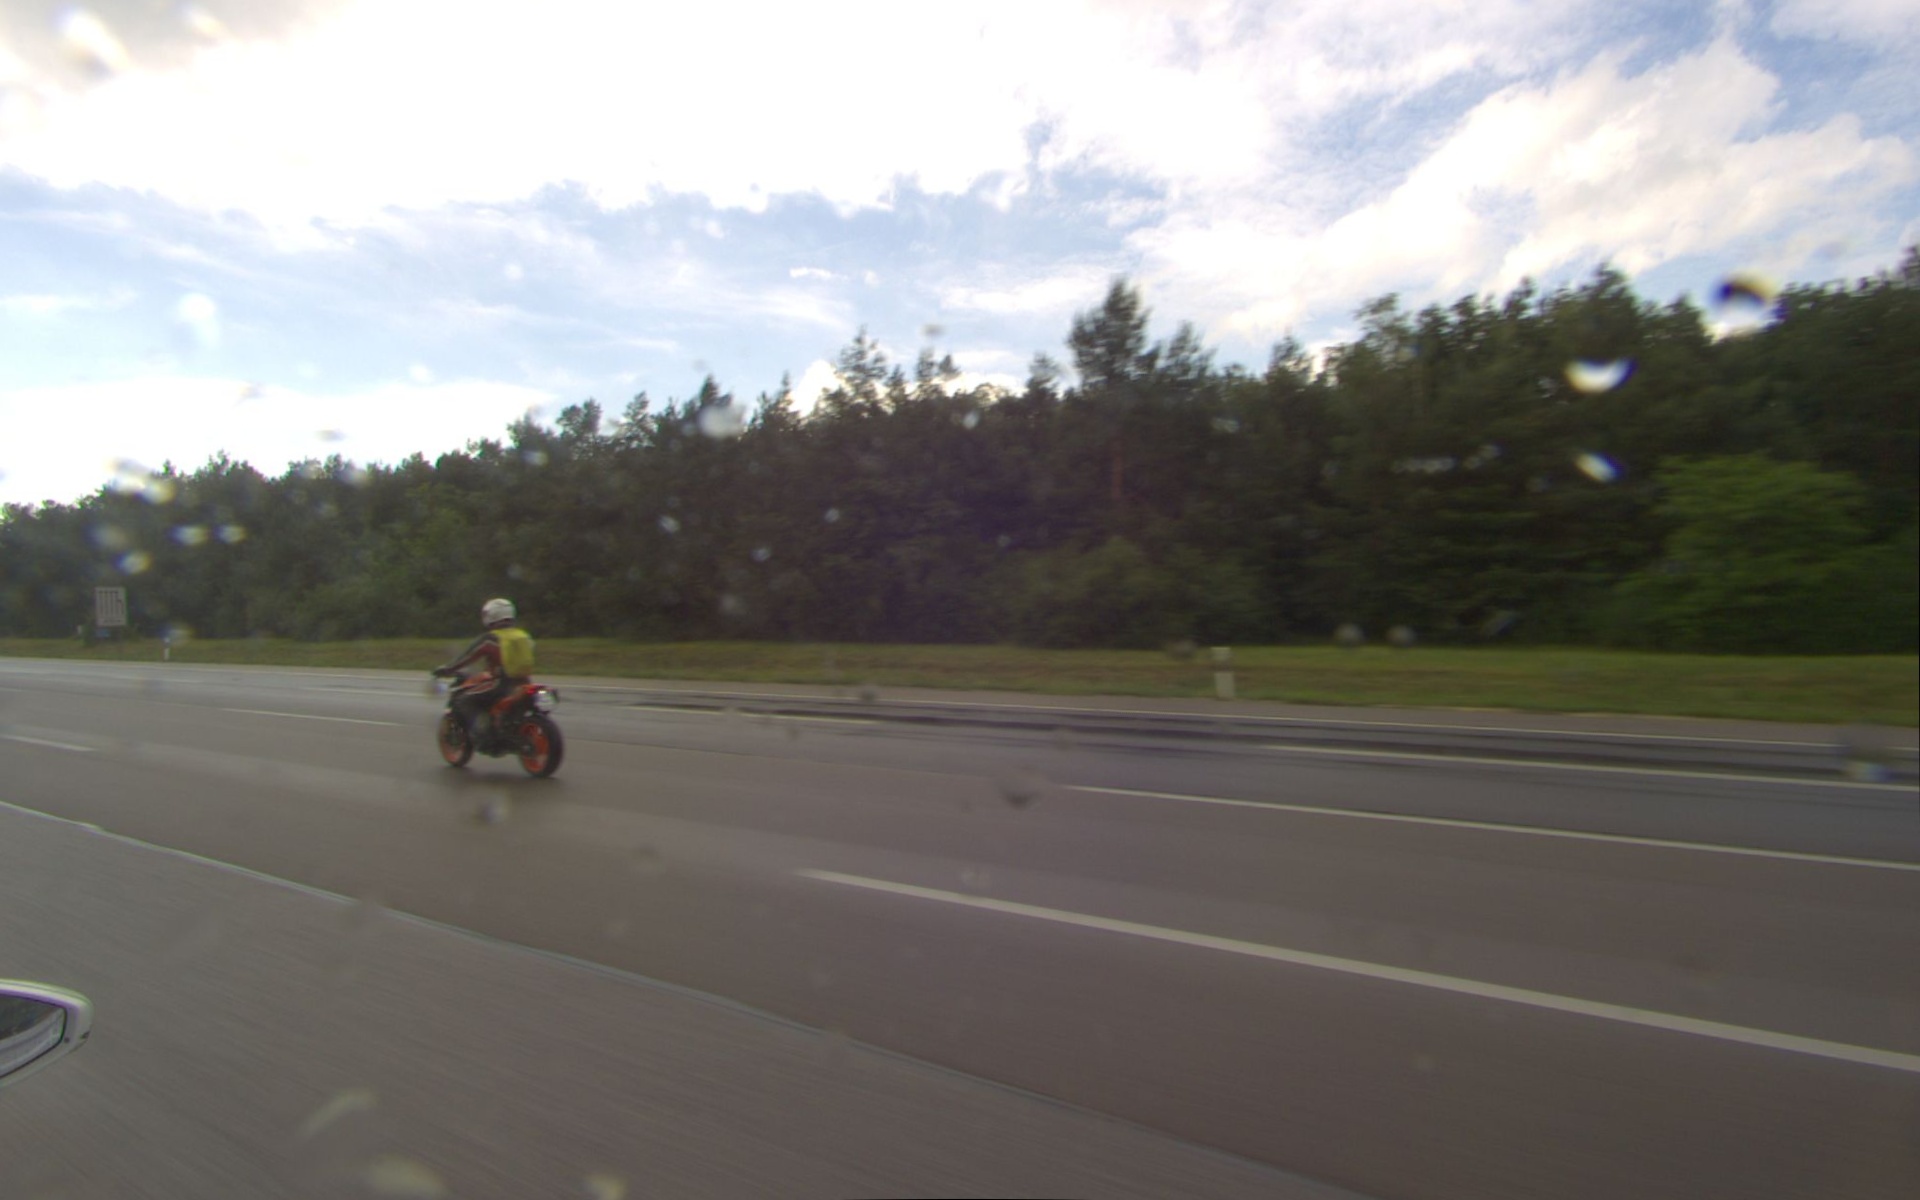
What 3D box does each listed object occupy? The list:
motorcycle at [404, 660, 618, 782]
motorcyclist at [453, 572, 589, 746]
[{"bbox_3d":[-4.591,1.168,10.197,2.143,1.045,0.997,-1,-1,33],"label":"motorcycle"},{"bbox_3d":[-4.411,0.572,10.075,0.945,1.636,0.889,0,-1,33],"label":"motorcyclist"}]
